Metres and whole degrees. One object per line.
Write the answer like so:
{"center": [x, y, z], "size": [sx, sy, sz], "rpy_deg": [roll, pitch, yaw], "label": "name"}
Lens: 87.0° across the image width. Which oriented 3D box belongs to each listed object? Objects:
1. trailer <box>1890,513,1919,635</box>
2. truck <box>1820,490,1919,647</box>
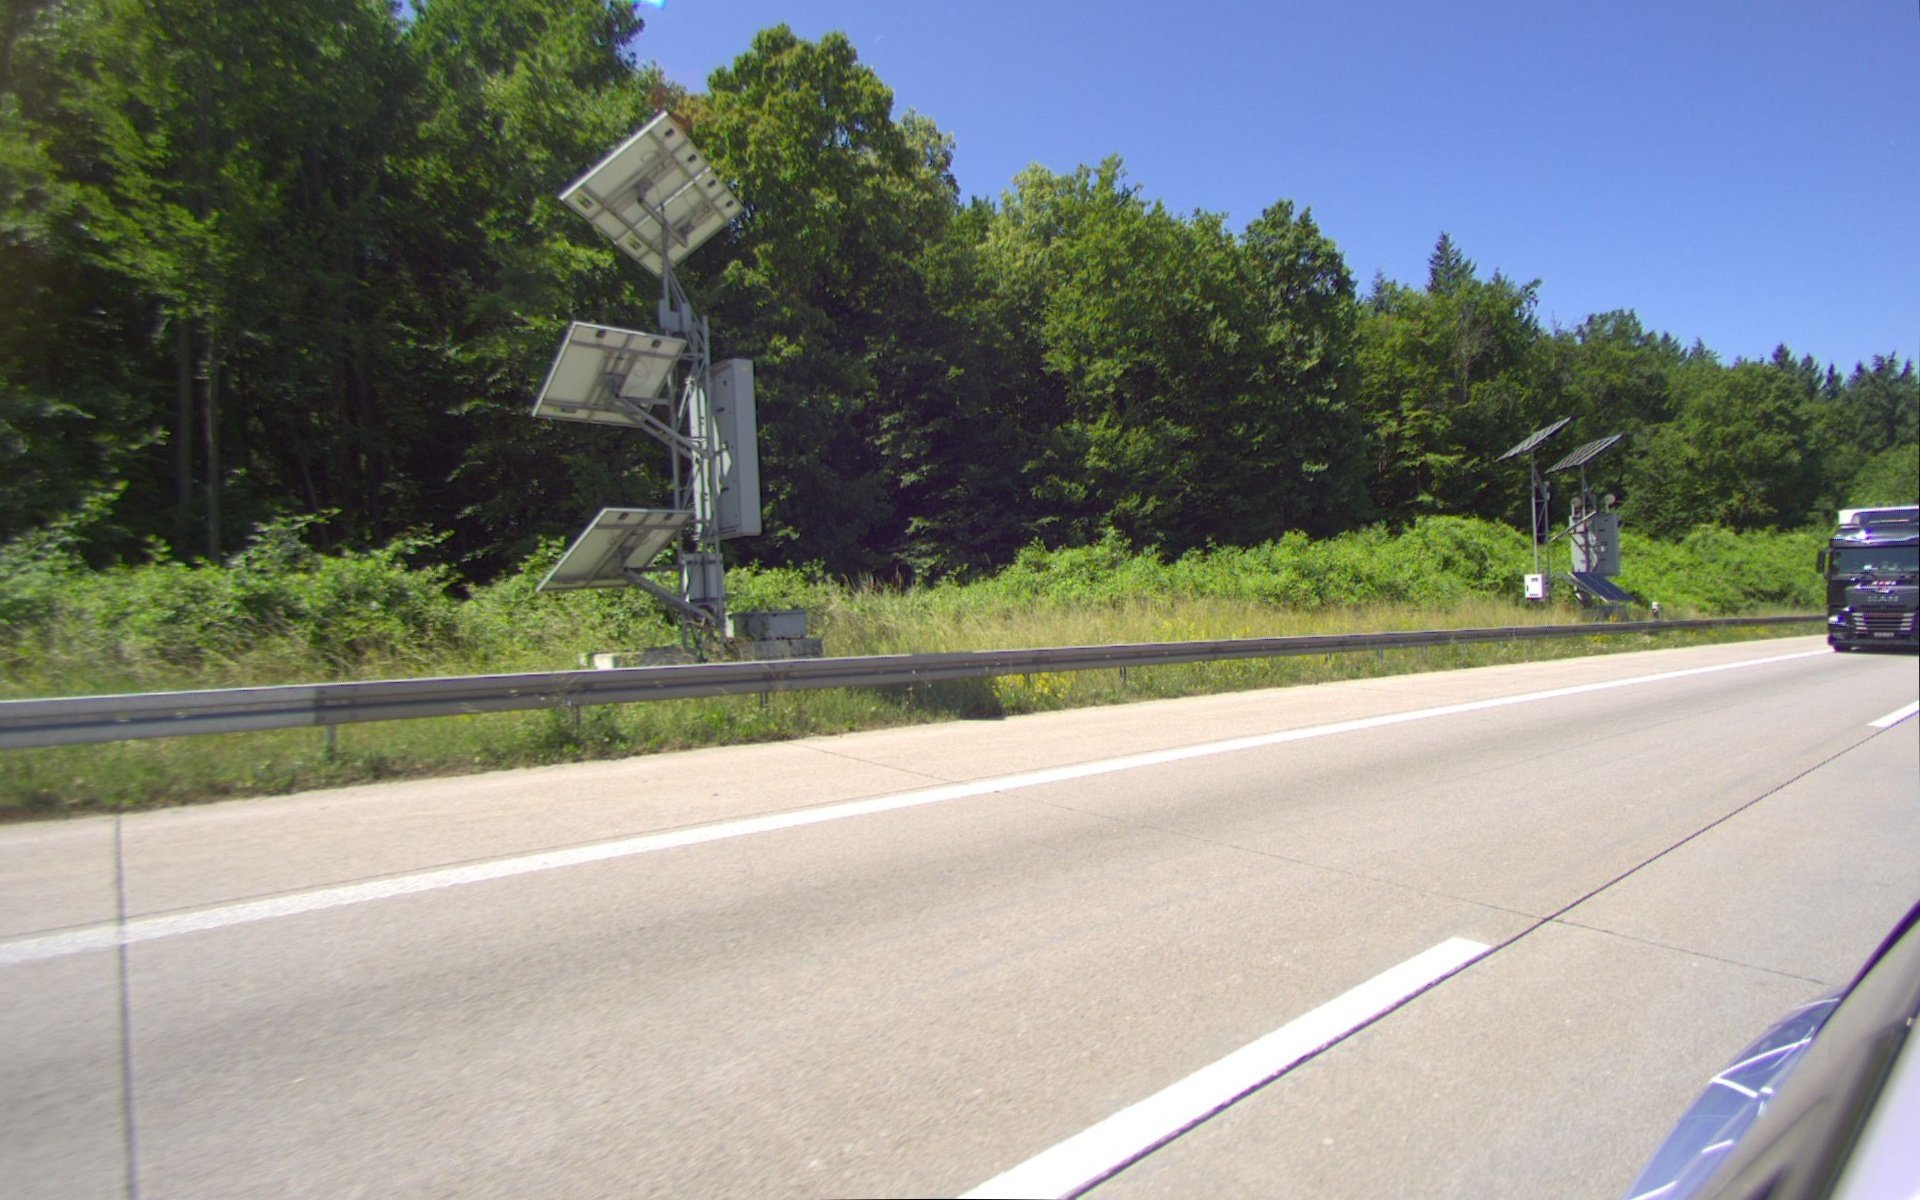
{"center": [36.027, -0.890, 36.011], "size": [8.926, 4.068, 3.141], "rpy_deg": [0, 0, -40], "label": "trailer"}
{"center": [28.574, -0.838, 29.814], "size": [10.418, 4.068, 3.166], "rpy_deg": [0, 0, -40], "label": "truck"}
